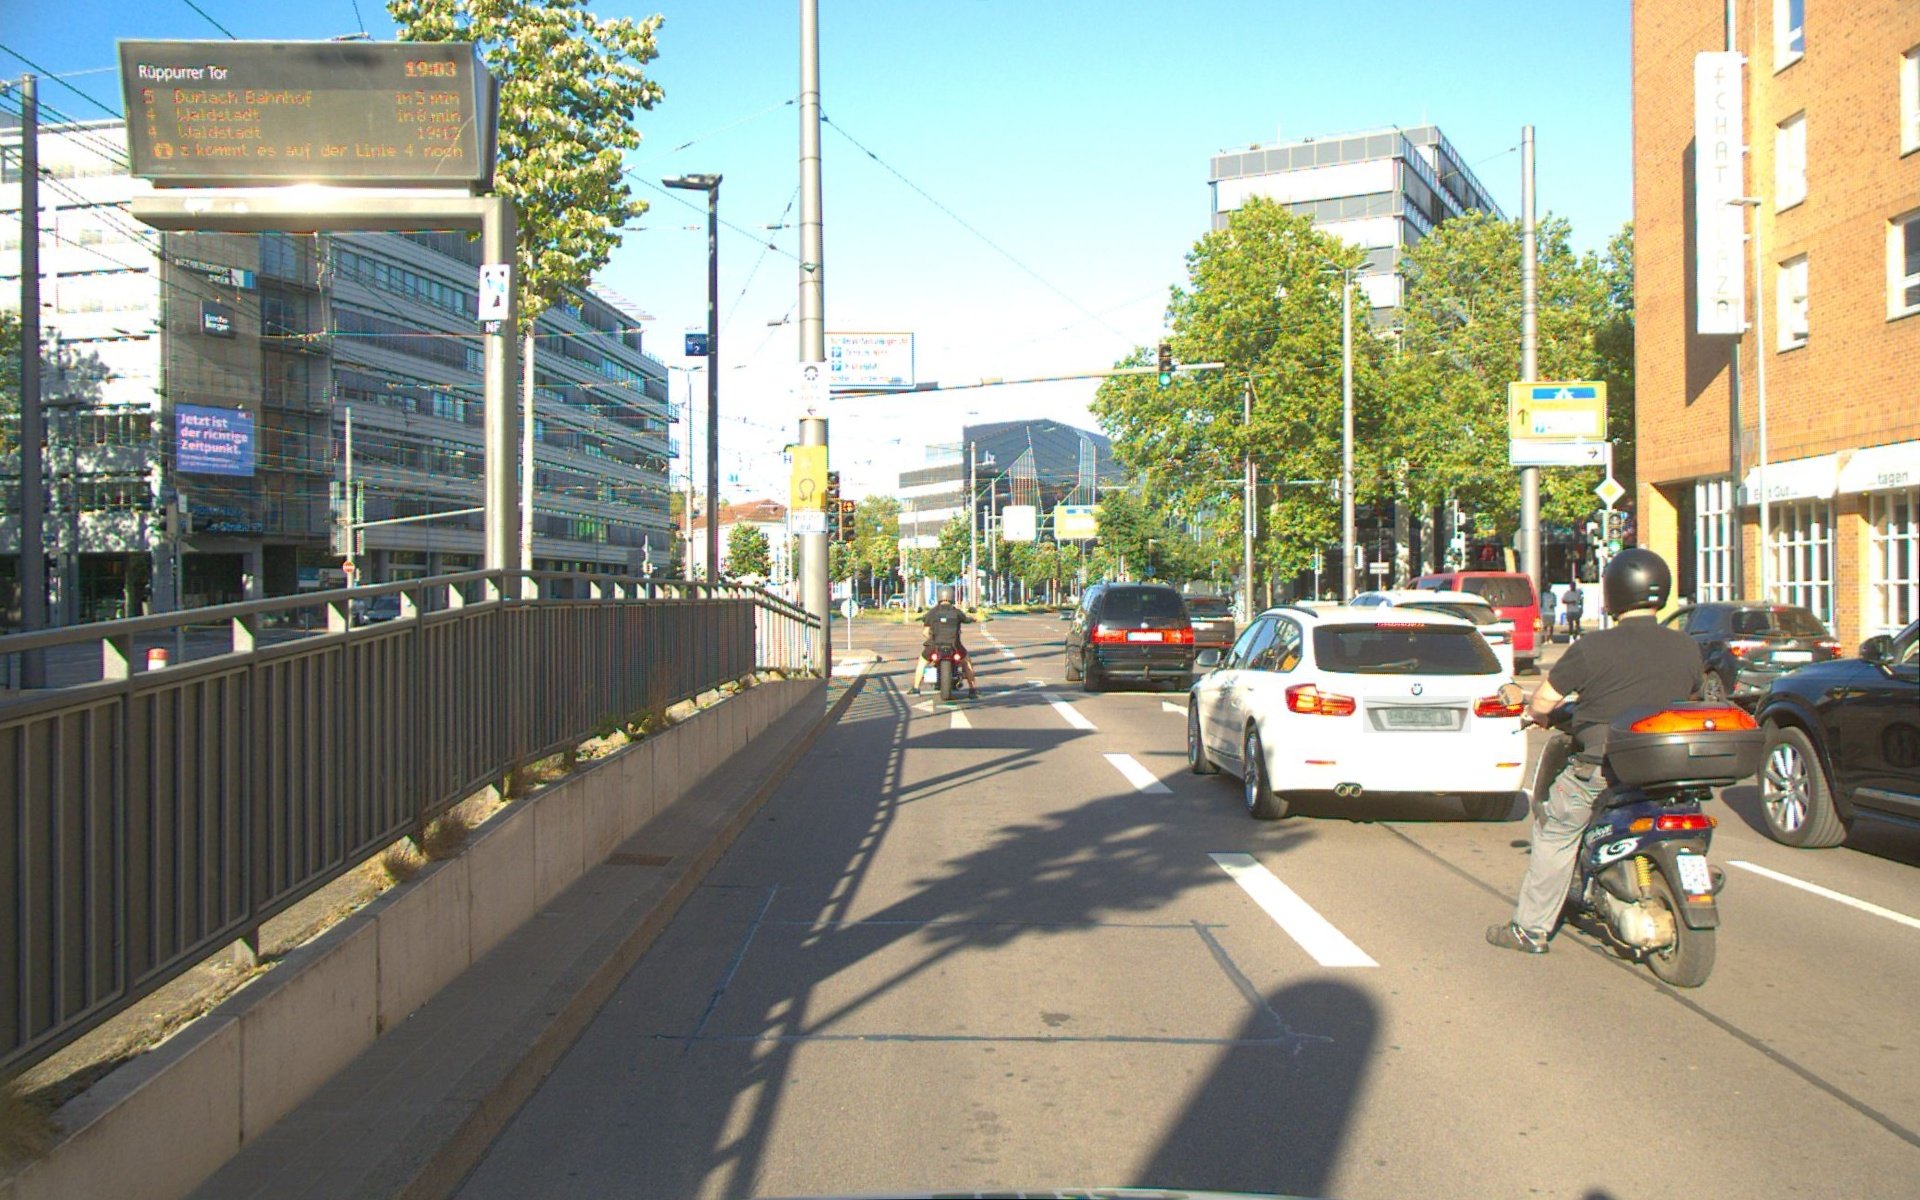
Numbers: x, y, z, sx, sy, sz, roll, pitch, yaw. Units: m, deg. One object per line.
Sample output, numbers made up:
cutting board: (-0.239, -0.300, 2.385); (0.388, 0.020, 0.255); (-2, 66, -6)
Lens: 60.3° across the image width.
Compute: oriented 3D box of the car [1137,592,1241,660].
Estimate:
car: (5.402, 0.569, 39.452); (1.813, 1.524, 4.378); (0, 0, -1)

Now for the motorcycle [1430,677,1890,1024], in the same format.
motorcycle: (2.831, 0.939, 7.104); (0.820, 1.081, 2.551); (-1, 0, -2)

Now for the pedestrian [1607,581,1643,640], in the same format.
pedestrian: (19.400, 0.306, 48.268); (0.809, 1.690, 0.519); (1, 0, -1)

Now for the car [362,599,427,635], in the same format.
car: (-24.658, 0.718, 72.267); (1.956, 1.489, 3.992); (0, 0, -8)

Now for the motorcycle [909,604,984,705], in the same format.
motorcycle: (-0.194, 0.743, 23.943); (0.998, 1.335, 2.914); (1, 0, 0)

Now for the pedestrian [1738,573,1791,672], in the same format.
pedestrian: (15.239, 0.420, 31.337); (0.594, 1.853, 0.748); (-1, -1, -2)

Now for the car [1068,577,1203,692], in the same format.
car: (2.792, 0.523, 27.143); (1.761, 1.735, 4.062); (0, 0, 0)

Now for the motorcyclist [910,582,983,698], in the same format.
motorcyclist: (-0.197, 0.566, 24.062); (0.998, 1.631, 1.148); (1, 0, -1)

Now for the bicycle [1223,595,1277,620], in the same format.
bicycle: (14.700, 0.394, 83.806); (2.635, 1.266, 0.528); (-1, 0, 22)

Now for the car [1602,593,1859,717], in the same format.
car: (10.601, 0.700, 23.091); (1.633, 1.557, 3.999); (-1, 0, -1)

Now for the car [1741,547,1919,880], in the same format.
car: (6.144, 0.632, 8.604); (1.935, 1.790, 4.632); (1, 0, 0)

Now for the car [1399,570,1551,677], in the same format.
car: (10.264, 0.432, 33.251); (1.822, 1.995, 4.000); (-1, 0, 1)

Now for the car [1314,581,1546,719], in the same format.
car: (6.158, 0.596, 22.193); (1.813, 1.668, 4.378); (0, 0, -1)

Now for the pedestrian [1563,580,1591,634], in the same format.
pedestrian: (19.594, 0.214, 52.538); (0.683, 1.690, 0.519); (1, 0, -1)

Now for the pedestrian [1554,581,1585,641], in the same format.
pedestrian: (17.479, 0.324, 47.440); (0.670, 1.690, 0.519); (1, 0, -1)

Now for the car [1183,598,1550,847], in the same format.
car: (2.845, 0.764, 12.561); (1.658, 1.523, 4.408); (1, 0, 0)

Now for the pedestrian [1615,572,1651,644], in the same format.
pedestrian: (17.738, 0.208, 43.594); (0.594, 1.853, 0.748); (-1, -1, -2)
